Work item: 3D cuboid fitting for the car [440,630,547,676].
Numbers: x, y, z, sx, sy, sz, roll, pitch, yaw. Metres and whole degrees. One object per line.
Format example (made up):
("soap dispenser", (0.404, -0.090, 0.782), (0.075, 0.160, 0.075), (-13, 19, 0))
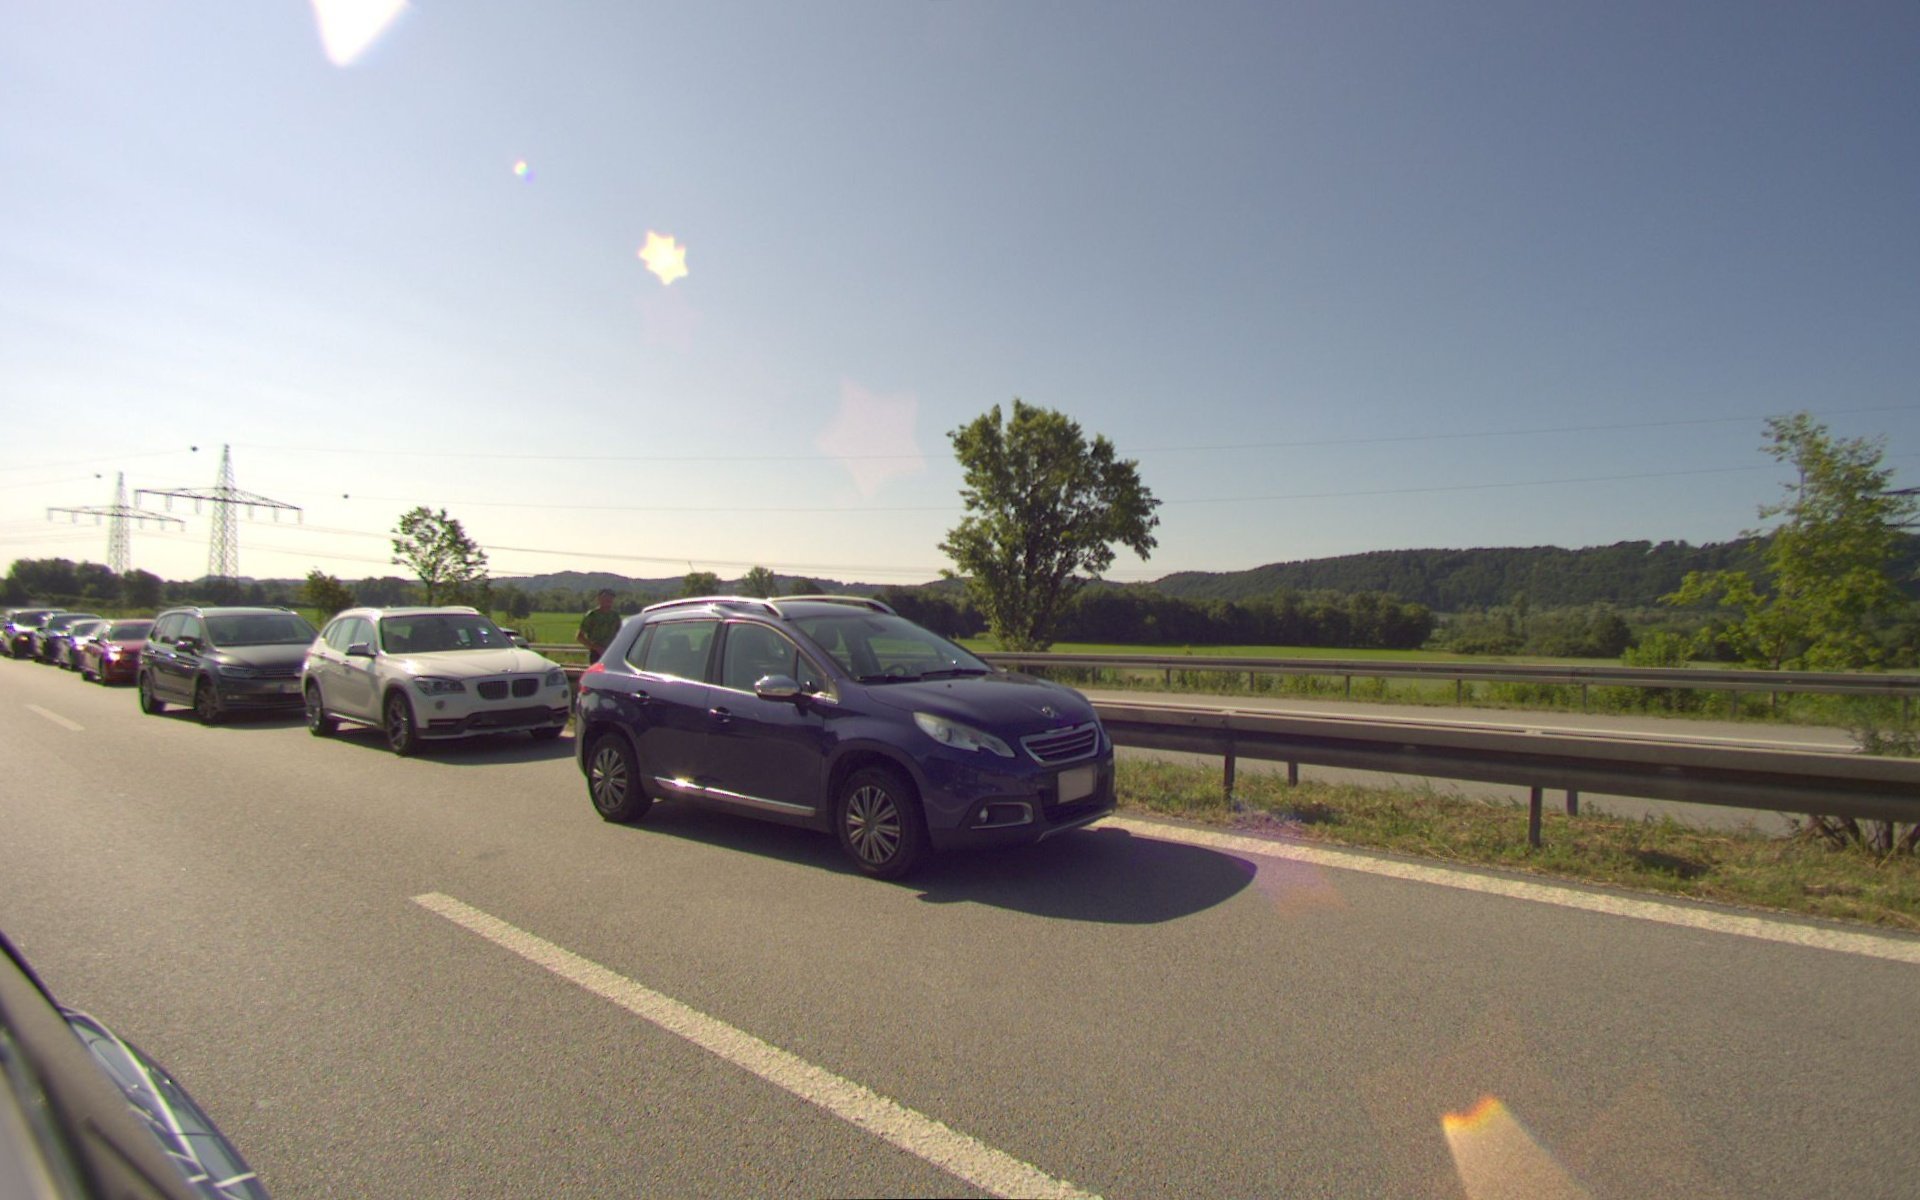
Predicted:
("car", (-16.058, 1.776, 34.737), (4.565, 1.424, 1.694), (-1, -1, 42))

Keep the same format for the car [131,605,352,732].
("car", (-10.847, 0.924, 15.178), (4.115, 1.628, 1.796), (-1, -1, 41))

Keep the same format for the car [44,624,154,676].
("car", (-25.329, 1.418, 29.737), (3.998, 1.409, 1.870), (-1, -2, 41))

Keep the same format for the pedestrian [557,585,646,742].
("pedestrian", (-4.217, 0.723, 11.902), (0.814, 1.764, 0.663), (-2, -2, 41))

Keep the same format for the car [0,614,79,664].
("car", (-35.007, 1.454, 38.355), (4.197, 1.801, 1.877), (-1, -2, 41))

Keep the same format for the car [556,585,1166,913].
("car", (-0.827, 0.725, 6.670), (3.944, 1.546, 1.671), (-1, 0, 39))

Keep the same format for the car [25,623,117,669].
("car", (-29.792, 1.498, 33.881), (3.999, 1.466, 1.869), (-1, -2, 42))

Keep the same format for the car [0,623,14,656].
("car", (-47.486, 1.897, 49.078), (3.998, 1.542, 1.973), (-1, -2, 41))

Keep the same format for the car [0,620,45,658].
("car", (-40.487, 1.645, 42.975), (3.998, 1.542, 1.973), (-1, -2, 41))

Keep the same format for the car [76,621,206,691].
("car", (-19.144, 1.248, 23.597), (4.117, 1.470, 1.795), (-1, -2, 43))

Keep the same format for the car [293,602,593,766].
("car", (-6.177, 0.855, 11.882), (4.163, 1.586, 1.808), (-1, -2, 42))

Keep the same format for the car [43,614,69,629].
("car", (-100.598, 2.365, 112.617), (4.393, 1.644, 1.838), (-1, 0, 43))
